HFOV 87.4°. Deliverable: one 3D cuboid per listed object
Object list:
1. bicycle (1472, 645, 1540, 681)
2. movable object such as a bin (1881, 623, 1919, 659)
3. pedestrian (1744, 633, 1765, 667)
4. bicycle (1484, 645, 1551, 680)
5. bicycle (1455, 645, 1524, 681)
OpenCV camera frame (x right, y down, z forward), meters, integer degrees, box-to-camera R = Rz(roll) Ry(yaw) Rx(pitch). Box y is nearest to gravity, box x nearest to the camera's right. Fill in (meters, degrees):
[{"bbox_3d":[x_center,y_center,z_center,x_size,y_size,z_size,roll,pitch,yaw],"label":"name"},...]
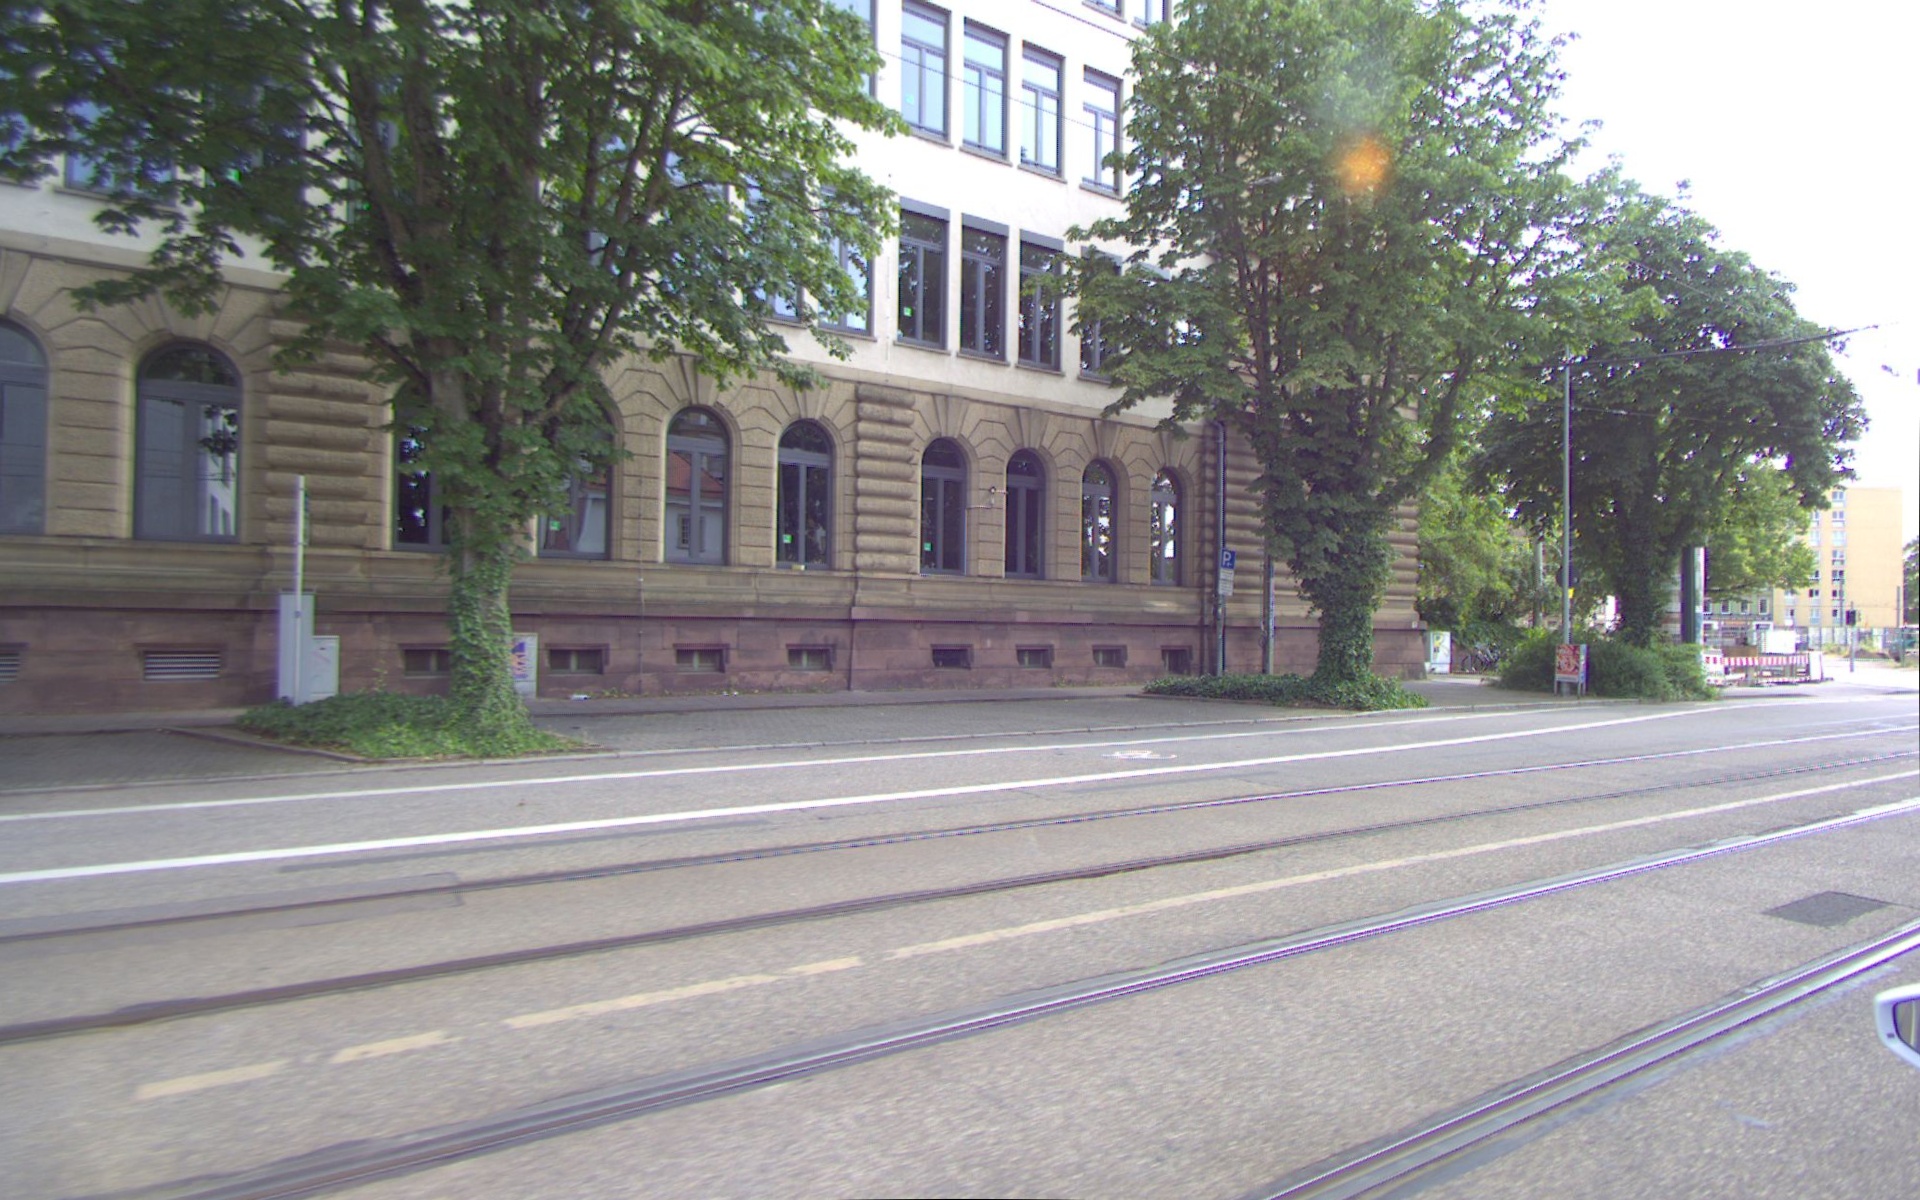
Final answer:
[{"bbox_3d":[19.959,2.280,36.764,0.722,1.183,2.102,2,-1,-32],"label":"bicycle"},{"bbox_3d":[70.460,3.020,74.113,3.952,2.608,2.630,2,-2,-29],"label":"movable object such as a bin"},{"bbox_3d":[39.930,2.523,50.466,0.778,1.674,0.577,-1,-2,42],"label":"pedestrian"},{"bbox_3d":[20.677,2.309,37.289,0.722,1.183,2.102,2,-1,-32],"label":"bicycle"},{"bbox_3d":[18.995,2.242,36.068,0.722,1.183,2.102,2,-1,-32],"label":"bicycle"}]
